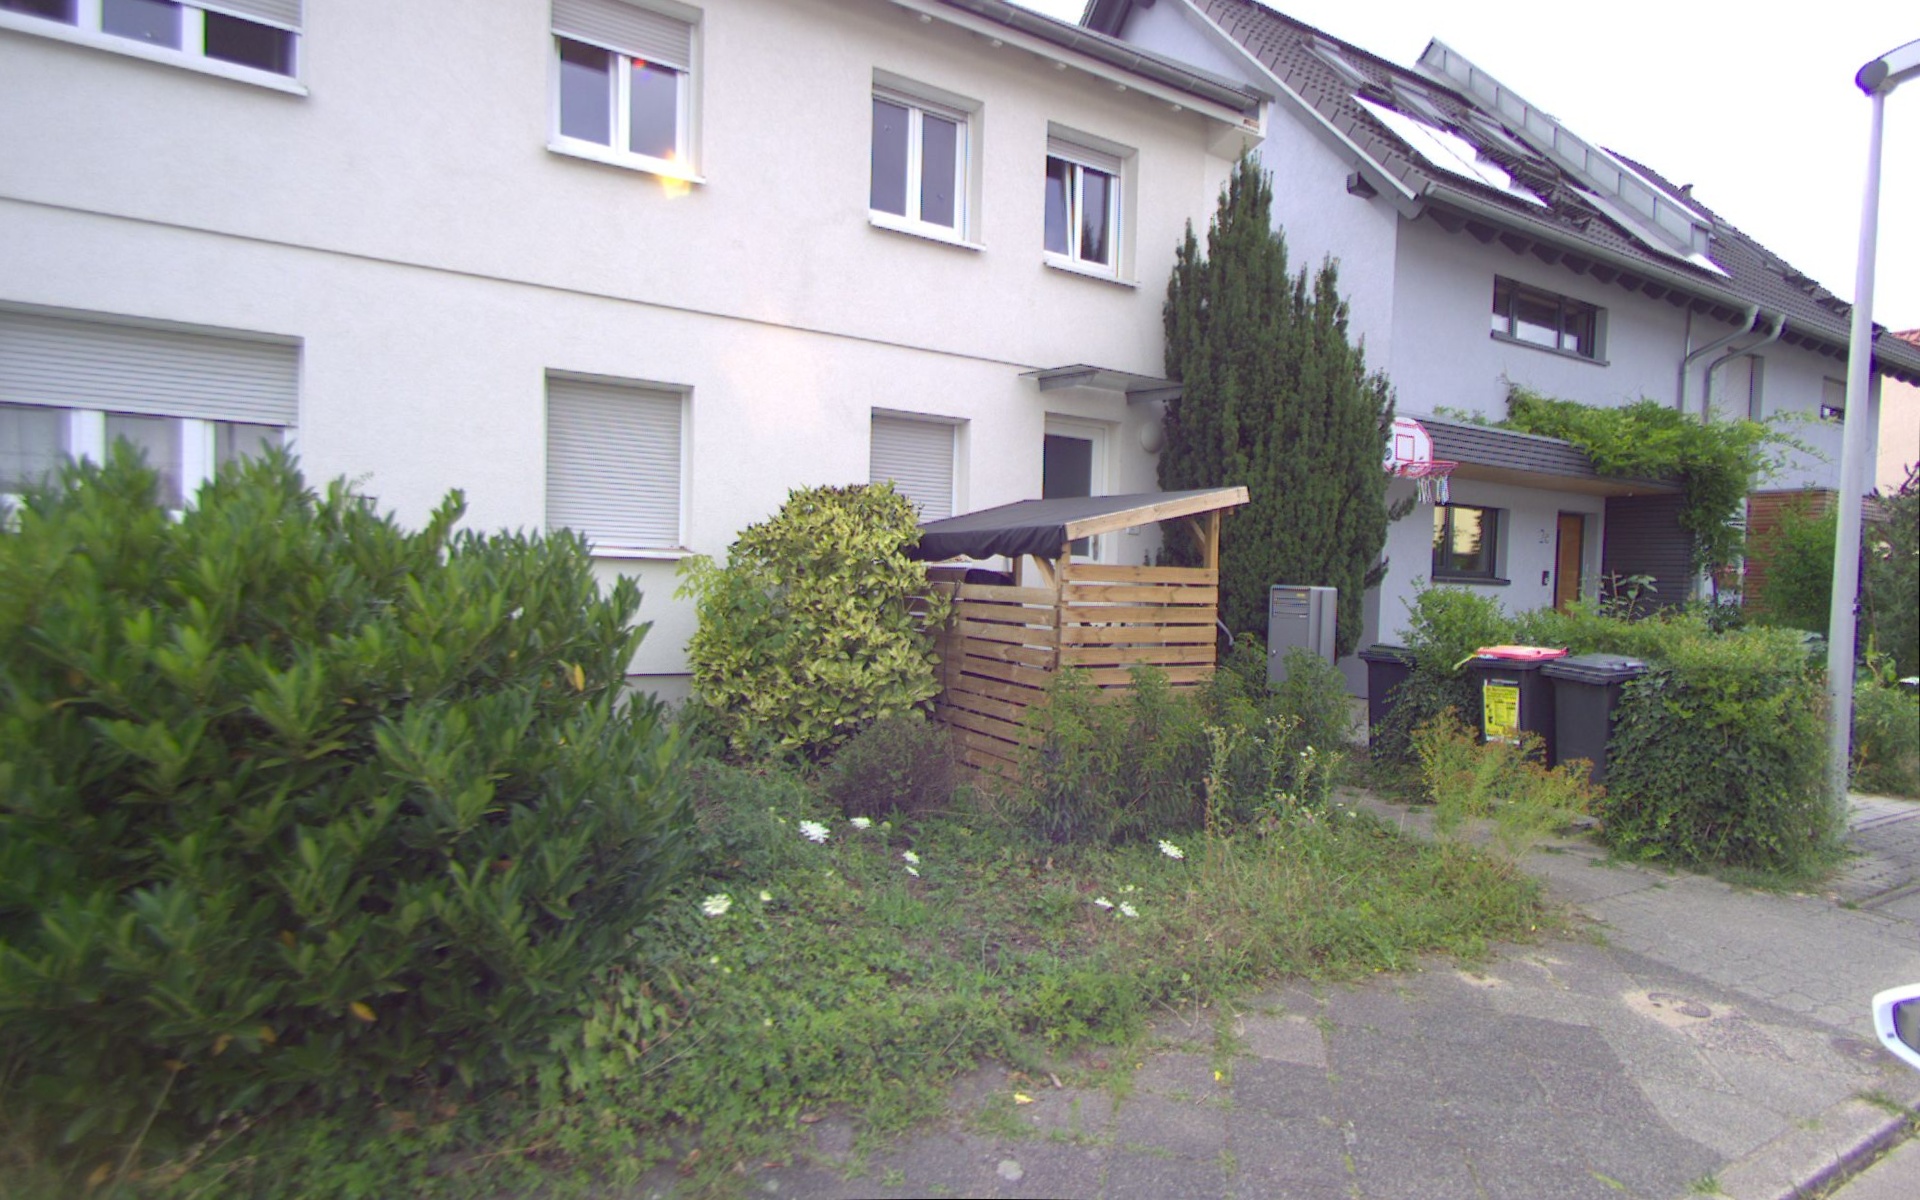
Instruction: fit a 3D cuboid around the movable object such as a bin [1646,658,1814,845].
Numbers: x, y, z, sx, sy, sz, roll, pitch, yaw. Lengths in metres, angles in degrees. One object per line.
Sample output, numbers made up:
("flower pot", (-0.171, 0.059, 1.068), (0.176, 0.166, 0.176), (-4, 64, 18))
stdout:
("movable object such as a bin", (4.778, 0.902, 6.243), (0.657, 1.041, 0.599), (1, 1, -29))
